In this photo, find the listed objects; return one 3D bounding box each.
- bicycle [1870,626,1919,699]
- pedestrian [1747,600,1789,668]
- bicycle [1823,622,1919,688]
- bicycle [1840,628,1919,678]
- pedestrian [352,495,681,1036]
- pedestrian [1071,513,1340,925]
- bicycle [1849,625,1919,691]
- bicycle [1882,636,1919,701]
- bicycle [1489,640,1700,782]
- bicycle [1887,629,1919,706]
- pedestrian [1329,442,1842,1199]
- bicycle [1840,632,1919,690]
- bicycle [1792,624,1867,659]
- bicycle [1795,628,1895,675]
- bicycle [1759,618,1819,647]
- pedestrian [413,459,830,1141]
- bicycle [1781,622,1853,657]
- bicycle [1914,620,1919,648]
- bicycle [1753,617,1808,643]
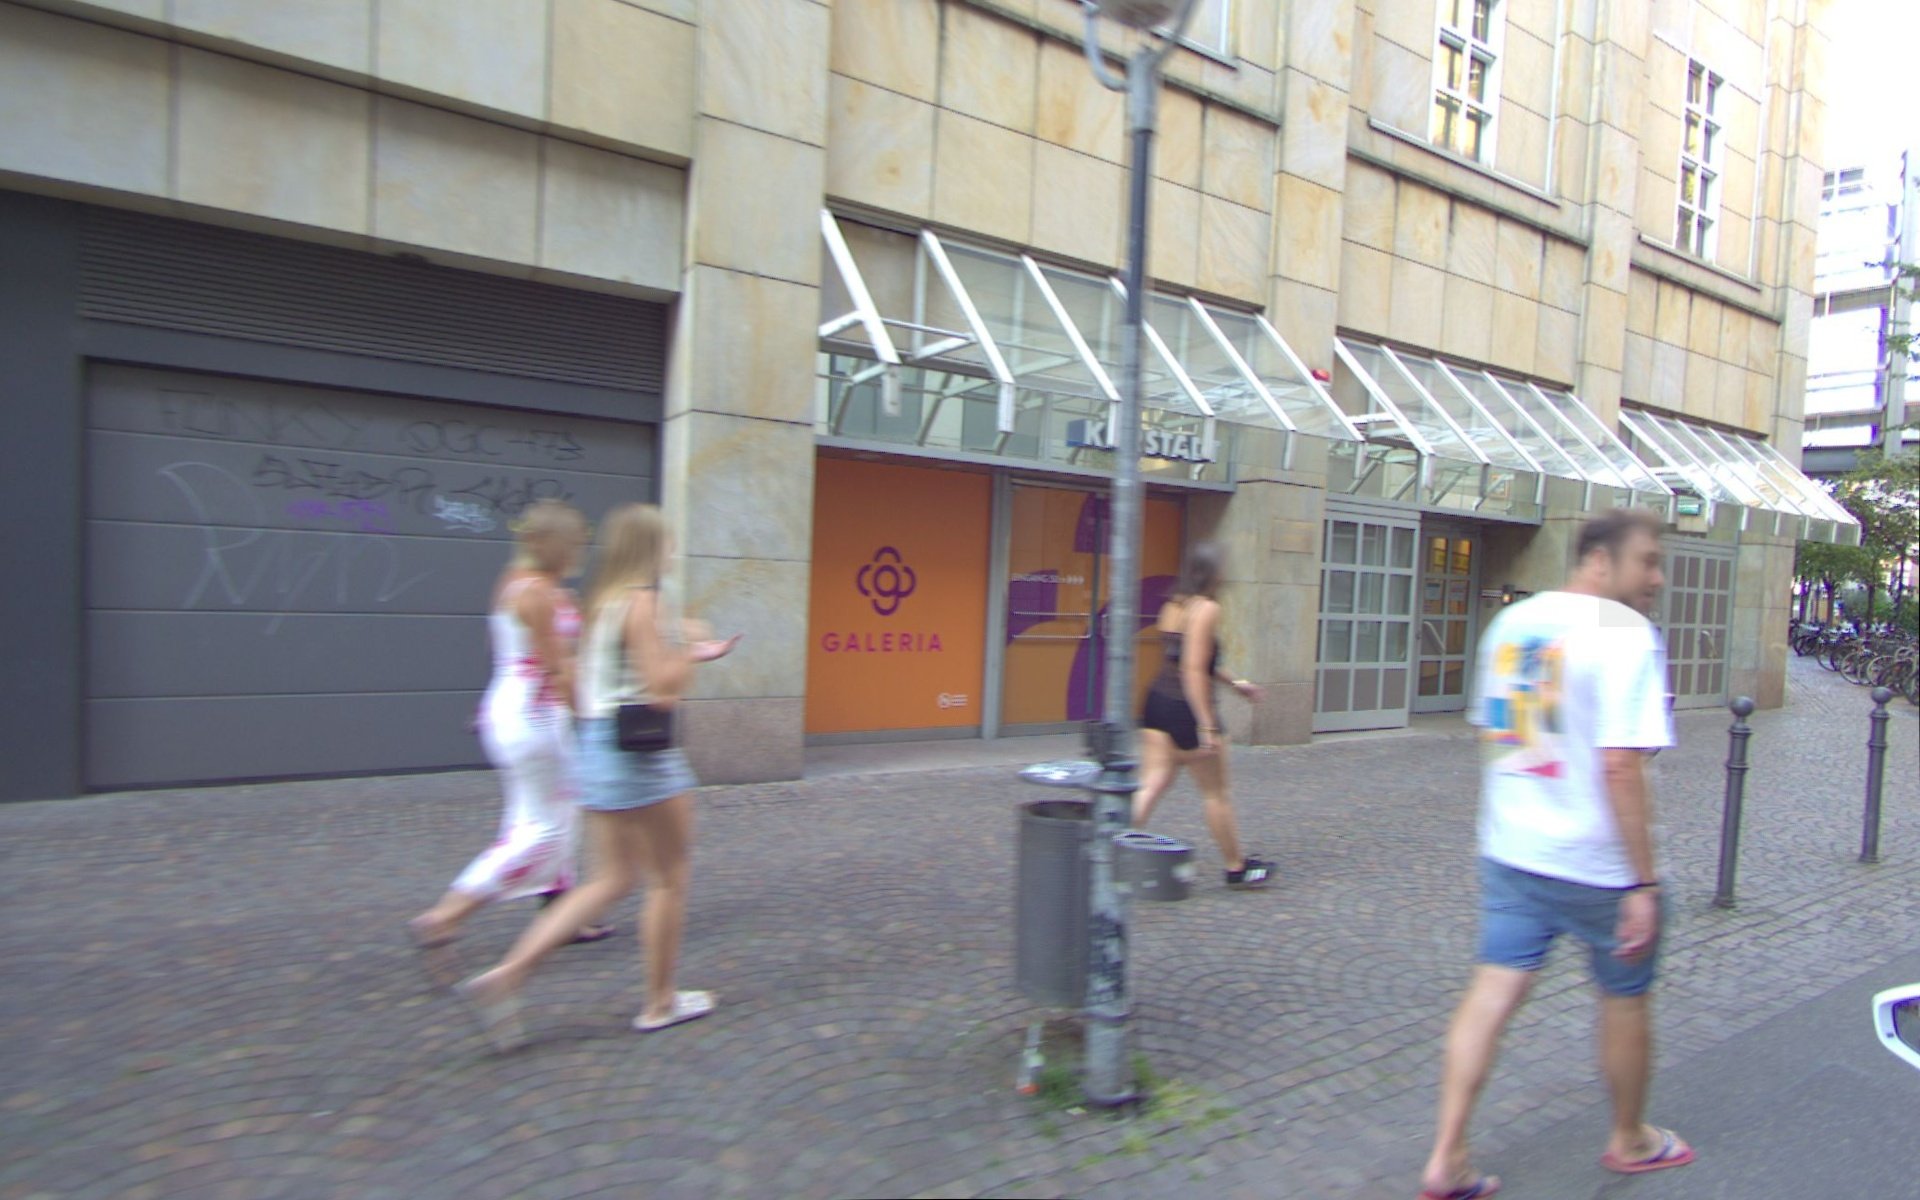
[{"bbox_3d":[17.151,1.122,17.650,1.632,1.247,0.532,2,1,36],"label":"bicycle"},{"bbox_3d":[19.729,0.825,24.533,0.689,1.604,0.716,2,1,36],"label":"pedestrian"},{"bbox_3d":[18.885,1.126,20.536,1.809,1.241,0.532,2,1,36],"label":"bicycle"},{"bbox_3d":[21.631,1.235,23.218,1.852,1.057,0.532,2,1,36],"label":"bicycle"},{"bbox_3d":[-1.598,0.504,3.655,0.666,1.687,0.857,4,2,38],"label":"pedestrian"},{"bbox_3d":[1.185,0.529,4.957,0.958,1.819,0.783,1,1,-21],"label":"pedestrian"},{"bbox_3d":[18.301,1.120,19.211,1.848,1.193,0.532,2,1,36],"label":"bicycle"},{"bbox_3d":[17.884,1.279,18.081,1.812,1.137,0.532,2,1,36],"label":"bicycle"},{"bbox_3d":[5.619,0.963,8.899,1.736,1.153,0.521,2,1,-16],"label":"bicycle"},{"bbox_3d":[16.398,1.148,16.400,1.743,1.247,0.532,2,1,36],"label":"bicycle"},{"bbox_3d":[1.559,0.607,2.544,0.869,1.847,0.738,1,2,-33],"label":"pedestrian"},{"bbox_3d":[18.593,1.210,19.735,1.869,1.066,0.532,2,1,36],"label":"bicycle"},{"bbox_3d":[27.987,1.327,32.361,1.756,1.033,0.479,2,1,36],"label":"bicycle"},{"bbox_3d":[22.337,1.285,25.392,1.801,1.057,0.532,2,1,36],"label":"bicycle"},{"bbox_3d":[34.959,1.357,42.406,1.879,1.127,0.479,2,1,36],"label":"bicycle"},{"bbox_3d":[-1.056,0.503,3.184,0.797,1.753,0.944,4,2,40],"label":"pedestrian"},{"bbox_3d":[28.384,1.292,33.300,1.756,1.033,0.479,2,1,36],"label":"bicycle"},{"bbox_3d":[41.721,1.479,42.580,1.751,1.206,0.584,3,2,38],"label":"bicycle"},{"bbox_3d":[37.539,1.364,45.992,1.879,1.127,0.479,2,1,36],"label":"bicycle"}]
